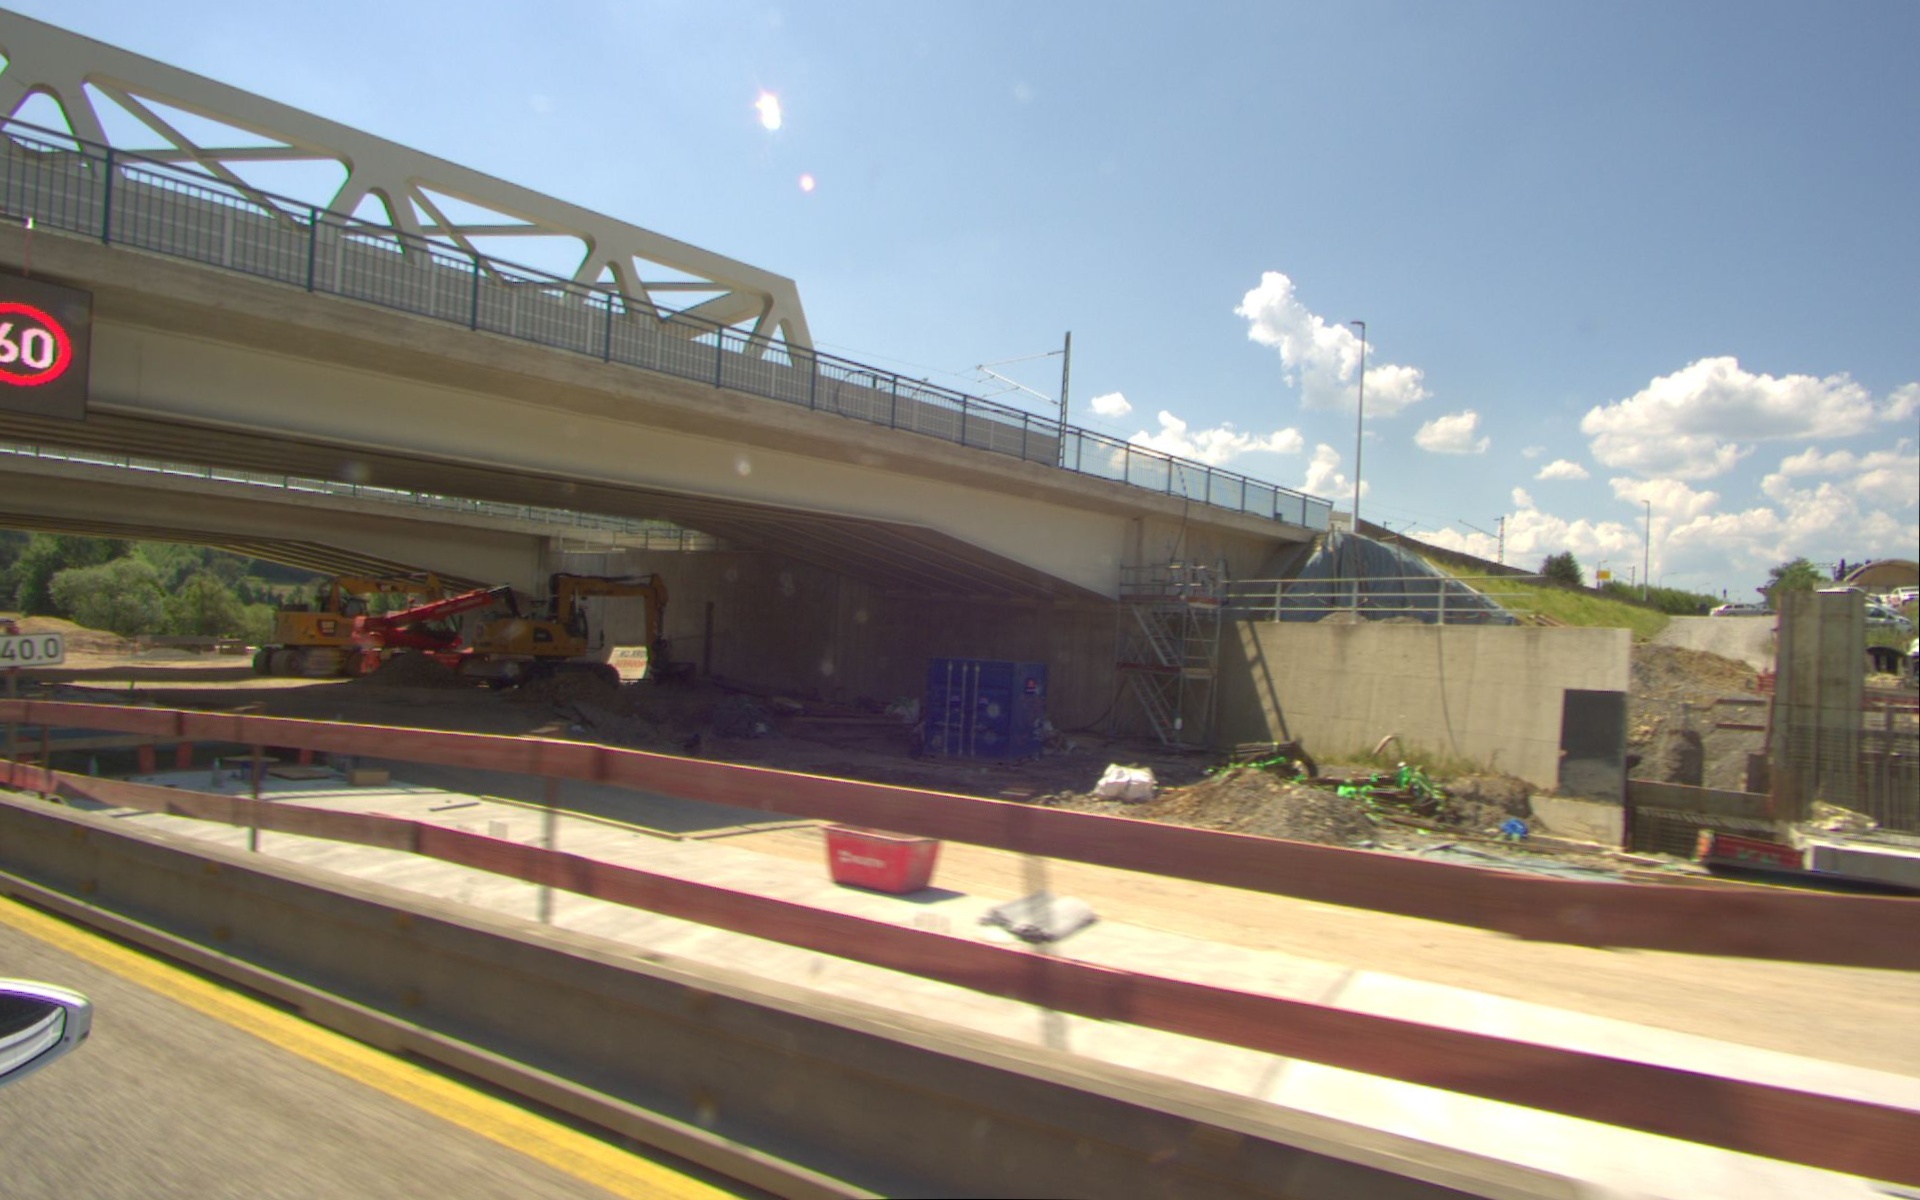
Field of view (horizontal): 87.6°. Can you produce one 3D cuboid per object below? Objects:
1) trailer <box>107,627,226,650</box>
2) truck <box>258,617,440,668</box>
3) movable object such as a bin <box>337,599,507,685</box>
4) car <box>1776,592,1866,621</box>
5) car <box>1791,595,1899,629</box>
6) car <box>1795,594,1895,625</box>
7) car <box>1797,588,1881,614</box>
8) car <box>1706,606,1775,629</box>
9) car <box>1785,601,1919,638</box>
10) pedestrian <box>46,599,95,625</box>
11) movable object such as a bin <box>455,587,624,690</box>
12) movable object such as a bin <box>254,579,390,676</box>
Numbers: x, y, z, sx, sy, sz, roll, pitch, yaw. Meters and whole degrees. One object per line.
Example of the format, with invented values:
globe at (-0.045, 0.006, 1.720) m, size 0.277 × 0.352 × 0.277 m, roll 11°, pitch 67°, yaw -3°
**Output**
trailer at (-43.418, 2.120, 54.894) m, size 2.026 × 1.235 × 4.706 m, roll -1°, pitch -3°, yaw 32°
truck at (-27.500, 1.967, 45.383) m, size 2.629 × 2.099 × 6.507 m, roll 0°, pitch -3°, yaw 35°
movable object such as a bin at (-20.821, 1.705, 38.977) m, size 2.464 × 3.093 × 5.227 m, roll -1°, pitch -4°, yaw 36°
car at (64.398, 0.516, 75.049) m, size 4.922 × 1.984 × 1.988 m, roll -2°, pitch -3°, yaw 37°
car at (55.789, 0.789, 63.274) m, size 4.922 × 1.984 × 1.988 m, roll -2°, pitch -3°, yaw 37°
car at (61.053, 0.670, 69.212) m, size 4.922 × 1.984 × 1.988 m, roll -2°, pitch -3°, yaw 37°
car at (71.410, 0.119, 81.451) m, size 4.922 × 1.984 × 1.988 m, roll -2°, pitch -3°, yaw 37°
car at (72.127, 1.673, 92.676) m, size 4.922 × 1.984 × 1.988 m, roll -2°, pitch -3°, yaw 37°
car at (50.388, 1.139, 56.726) m, size 5.500 × 1.984 × 1.988 m, roll -2°, pitch -3°, yaw 37°
pedestrian at (-73.666, 1.047, 82.918) m, size 3.942 × 2.039 × 1.991 m, roll -1°, pitch -2°, yaw 31°
movable object such as a bin at (-14.717, 1.430, 35.236) m, size 2.952 × 3.327 × 4.543 m, roll -1°, pitch -4°, yaw 36°
movable object such as a bin at (-25.188, 1.165, 39.589) m, size 2.872 × 3.585 × 3.863 m, roll -2°, pitch -4°, yaw 43°
